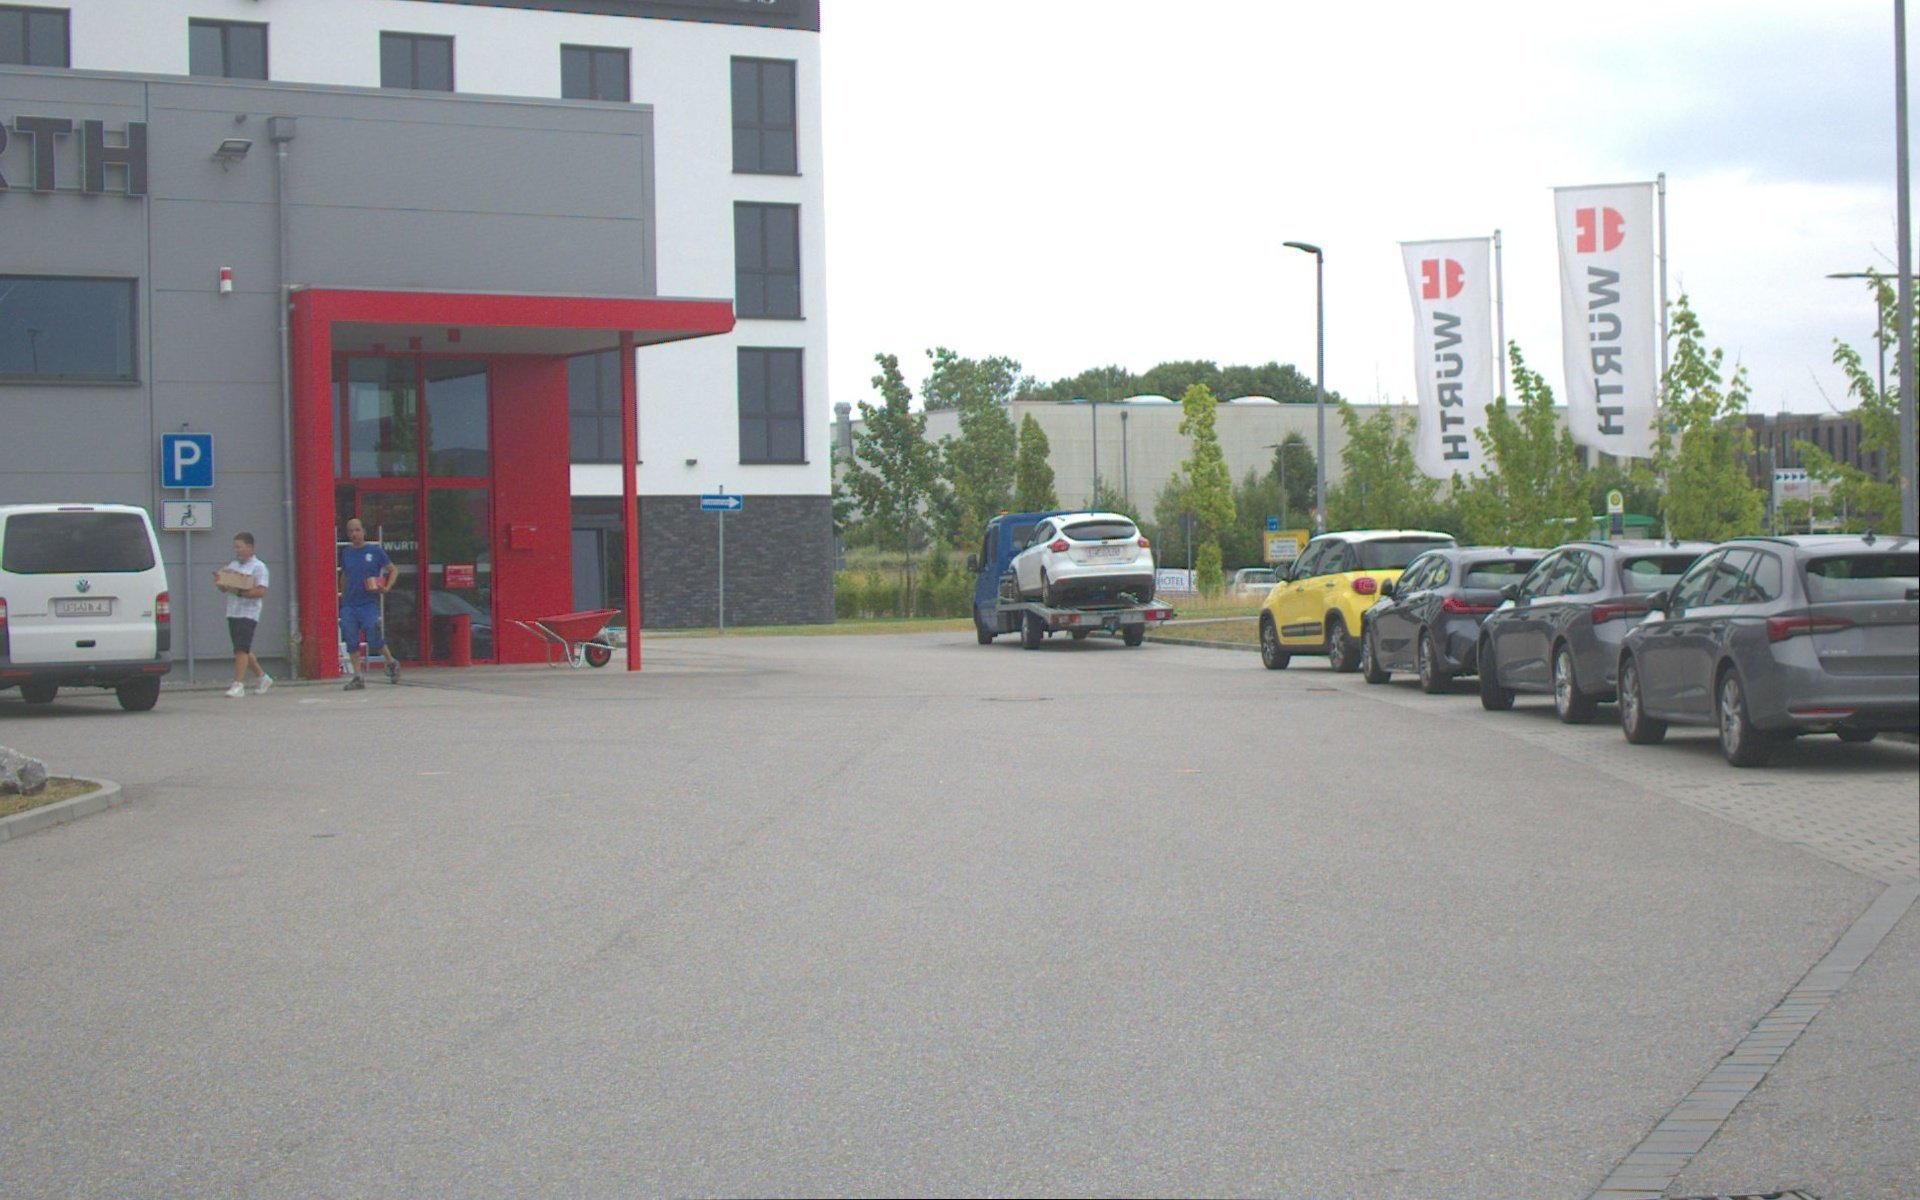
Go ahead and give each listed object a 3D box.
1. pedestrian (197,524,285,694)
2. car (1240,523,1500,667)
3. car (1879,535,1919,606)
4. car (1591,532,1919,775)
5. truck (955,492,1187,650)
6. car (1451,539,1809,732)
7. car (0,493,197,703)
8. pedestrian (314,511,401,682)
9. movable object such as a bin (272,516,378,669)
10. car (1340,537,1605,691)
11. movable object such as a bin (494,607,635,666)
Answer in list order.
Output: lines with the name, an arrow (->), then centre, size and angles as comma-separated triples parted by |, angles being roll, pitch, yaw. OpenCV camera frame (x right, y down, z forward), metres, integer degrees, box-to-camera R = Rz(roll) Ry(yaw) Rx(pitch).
pedestrian -> -7.498, 0.089, 35.889 | 0.624, 1.745, 0.905 | -1, 1, 6
car -> 4.884, -0.058, 41.508 | 1.856, 1.644, 4.001 | 0, 0, -13
car -> 20.015, -0.598, 66.578 | 1.762, 1.390, 4.559 | -1, 1, -24
car -> 5.613, 0.292, 23.052 | 1.751, 1.464, 4.476 | -1, 1, -3
truck -> 1.744, -0.395, 57.920 | 2.331, 2.398, 7.898 | 0, -1, -10
car -> 5.486, 0.245, 28.721 | 1.751, 1.464, 4.477 | -1, 1, -5
car -> -9.154, -0.007, 33.288 | 2.055, 1.849, 4.061 | -3, 1, -33
pedestrian -> -6.423, -0.040, 36.693 | 0.676, 1.796, 0.880 | -1, 1, 5
movable object such as a bin -> -7.132, -0.086, 38.620 | 0.910, 1.667, 0.743 | -3, 1, -30
car -> 5.163, 0.112, 35.131 | 1.751, 1.464, 4.108 | -1, 1, -5
movable object such as a bin -> -4.877, 0.444, 42.373 | 1.488, 0.701, 0.965 | 0, 0, -25
